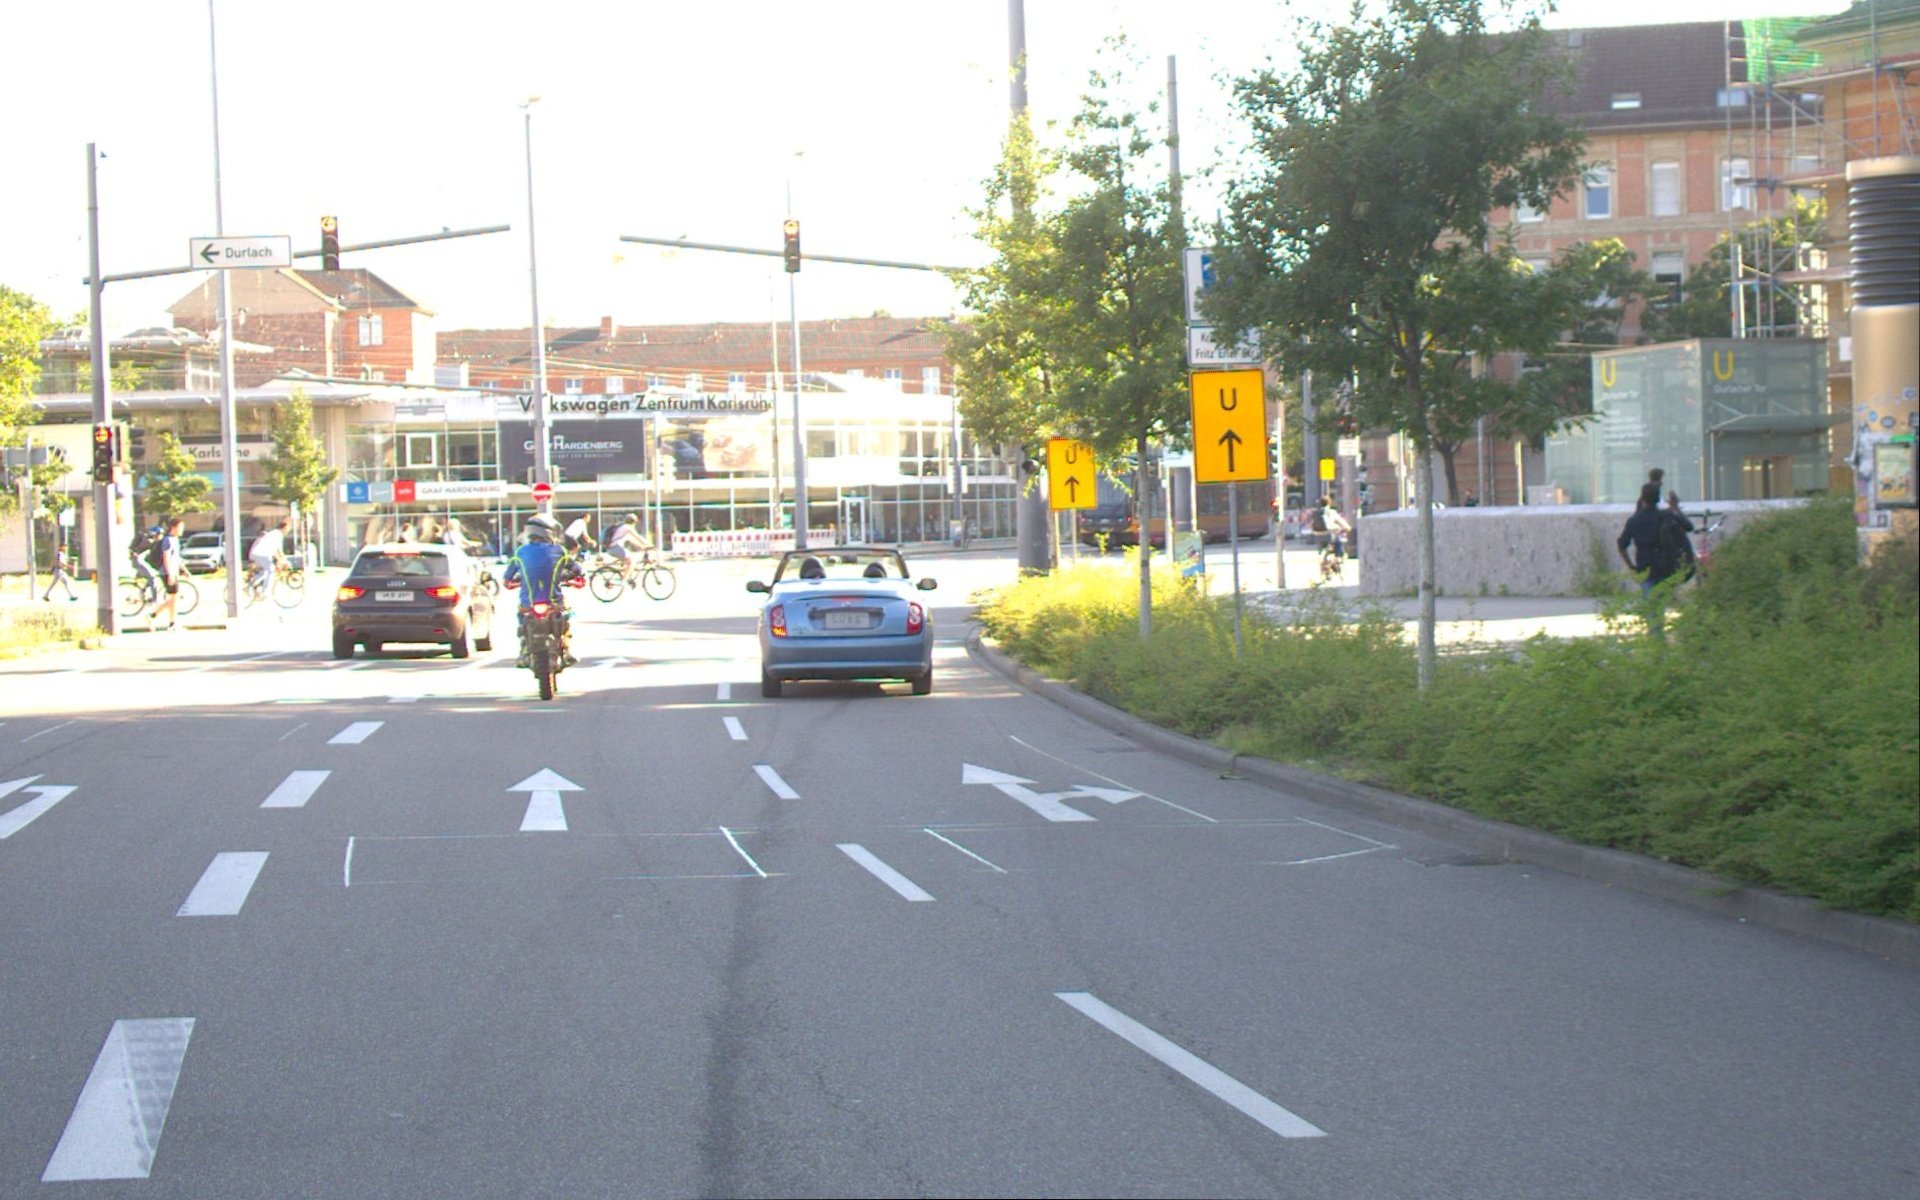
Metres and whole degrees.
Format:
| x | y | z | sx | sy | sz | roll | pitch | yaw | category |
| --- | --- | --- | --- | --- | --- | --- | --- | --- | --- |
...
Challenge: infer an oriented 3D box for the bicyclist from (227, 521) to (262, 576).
| x | y | z | sx | sy | sz | roll | pitch | yaw | category |
| --- | --- | --- | --- | --- | --- | --- | --- | --- | --- |
| -20.592 | -1.486 | 98.991 | 0.923 | 1.554 | 0.860 | -1 | 3 | -15 | bicyclist |

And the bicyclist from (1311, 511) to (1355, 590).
| x | y | z | sx | sy | sz | roll | pitch | yaw | category |
| --- | --- | --- | --- | --- | --- | --- | --- | --- | --- |
| 7.659 | -1.015 | 70.594 | 0.789 | 1.588 | 0.947 | -3 | 0 | 7 | bicyclist |

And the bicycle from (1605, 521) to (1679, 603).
| x | y | z | sx | sy | sz | roll | pitch | yaw | category |
| --- | --- | --- | --- | --- | --- | --- | --- | --- | --- |
| 9.143 | -0.520 | 46.160 | 0.789 | 1.035 | 1.962 | -3 | 1 | 7 | bicycle |

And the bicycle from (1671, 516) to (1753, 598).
| x | y | z | sx | sy | sz | roll | pitch | yaw | category |
| --- | --- | --- | --- | --- | --- | --- | --- | --- | --- |
| 10.135 | -0.586 | 46.271 | 0.627 | 1.035 | 1.960 | -3 | 1 | 25 | bicycle |

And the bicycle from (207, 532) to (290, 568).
| x | y | z | sx | sy | sz | roll | pitch | yaw | category |
| --- | --- | --- | --- | --- | --- | --- | --- | --- | --- |
| -20.484 | -1.452 | 99.010 | 2.295 | 0.976 | 0.860 | -1 | 3 | -14 | bicycle |

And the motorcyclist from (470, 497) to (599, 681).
| x | y | z | sx | sy | sz | roll | pitch | yaw | category |
| --- | --- | --- | --- | --- | --- | --- | --- | --- | --- |
| -4.049 | -0.109 | 32.768 | 1.096 | 1.715 | 0.936 | 0 | 1 | 1 | motorcyclist |

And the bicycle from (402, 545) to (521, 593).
| x | y | z | sx | sy | sz | roll | pitch | yaw | category |
| --- | --- | --- | --- | --- | --- | --- | --- | --- | --- |
| -10.213 | -0.638 | 70.426 | 2.295 | 0.902 | 0.860 | -1 | 3 | -16 | bicycle |

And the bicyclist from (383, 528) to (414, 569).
| x | y | z | sx | sy | sz | roll | pitch | yaw | category |
| --- | --- | --- | --- | --- | --- | --- | --- | --- | --- |
| -15.876 | -1.461 | 97.263 | 0.712 | 1.139 | 0.838 | -1 | 3 | -20 | bicyclist |

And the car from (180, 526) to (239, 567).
| x | y | z | sx | sy | sz | roll | pitch | yaw | category |
| --- | --- | --- | --- | --- | --- | --- | --- | --- | --- |
| -31.396 | -2.242 | 143.900 | 1.993 | 1.529 | 4.001 | -1 | 3 | -6 | car |

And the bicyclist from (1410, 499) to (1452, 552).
| x | y | z | sx | sy | sz | roll | pitch | yaw | category |
| --- | --- | --- | --- | --- | --- | --- | --- | --- | --- |
| 14.091 | -2.217 | 102.851 | 0.923 | 1.554 | 0.963 | -2 | 1 | -16 | bicyclist |

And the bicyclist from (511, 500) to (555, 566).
| x | y | z | sx | sy | sz | roll | pitch | yaw | category |
| --- | --- | --- | --- | --- | --- | --- | --- | --- | --- |
| -12.691 | -2.003 | 102.090 | 1.070 | 1.894 | 1.123 | -1 | 3 | -19 | bicyclist |

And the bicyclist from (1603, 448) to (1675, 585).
| x | y | z | sx | sy | sz | roll | pitch | yaw | category |
| --- | --- | --- | --- | --- | --- | --- | --- | --- | --- |
| 9.101 | -1.114 | 46.106 | 0.787 | 1.780 | 0.894 | -3 | 0 | 7 | bicyclist |

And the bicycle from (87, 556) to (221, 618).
| x | y | z | sx | sy | sz | roll | pitch | yaw | category |
| --- | --- | --- | --- | --- | --- | --- | --- | --- | --- |
| -15.591 | -0.257 | 66.538 | 2.492 | 1.129 | 0.860 | -1 | 3 | -12 | bicycle |

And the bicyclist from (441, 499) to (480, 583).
| x | y | z | sx | sy | sz | roll | pitch | yaw | category |
| --- | --- | --- | --- | --- | --- | --- | --- | --- | --- |
| -10.226 | -1.222 | 70.393 | 0.649 | 1.685 | 0.860 | -1 | 3 | -16 | bicyclist |

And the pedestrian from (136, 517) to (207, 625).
| x | y | z | sx | sy | sz | roll | pitch | yaw | category |
| --- | --- | --- | --- | --- | --- | --- | --- | --- | --- |
| -12.329 | -0.454 | 53.759 | 0.826 | 1.666 | 0.698 | -2 | 2 | -40 | pedestrian |

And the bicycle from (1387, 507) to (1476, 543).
| x | y | z | sx | sy | sz | roll | pitch | yaw | category |
| --- | --- | --- | --- | --- | --- | --- | --- | --- | --- |
| 14.093 | -2.239 | 102.843 | 2.437 | 1.000 | 0.963 | -2 | 1 | -16 | bicycle |

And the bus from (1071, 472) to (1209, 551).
| x | y | z | sx | sy | sz | roll | pitch | yaw | category |
| --- | --- | --- | --- | --- | --- | --- | --- | --- | --- |
| 6.979 | -3.430 | 131.591 | 2.356 | 2.873 | 9.569 | -1 | 1 | 21 | bus |

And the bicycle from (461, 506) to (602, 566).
| x | y | z | sx | sy | sz | roll | pitch | yaw | category |
| --- | --- | --- | --- | --- | --- | --- | --- | --- | --- |
| -12.708 | -1.901 | 102.062 | 3.986 | 1.684 | 1.139 | -1 | 3 | -19 | bicycle |

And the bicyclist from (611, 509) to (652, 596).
| x | y | z | sx | sy | sz | roll | pitch | yaw | category |
| --- | --- | --- | --- | --- | --- | --- | --- | --- | --- |
| -6.508 | -0.951 | 68.124 | 0.649 | 1.685 | 0.860 | -1 | 3 | -16 | bicyclist |

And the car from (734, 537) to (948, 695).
| x | y | z | sx | sy | sz | roll | pitch | yaw | category |
| --- | --- | --- | --- | --- | --- | --- | --- | --- | --- |
| -1.116 | 0.110 | 33.956 | 1.801 | 1.439 | 3.978 | 0 | 1 | 3 | car |

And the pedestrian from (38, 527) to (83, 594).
| x | y | z | sx | sy | sz | roll | pitch | yaw | category |
| --- | --- | --- | --- | --- | --- | --- | --- | --- | --- |
| -24.974 | -1.097 | 95.438 | 0.989 | 1.810 | 0.920 | 0 | 3 | -2 | pedestrian |

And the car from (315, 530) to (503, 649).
| x | y | z | sx | sy | sz | roll | pitch | yaw | category |
| --- | --- | --- | --- | --- | --- | --- | --- | --- | --- |
| -6.992 | -0.166 | 43.983 | 1.801 | 1.439 | 3.978 | 0 | 1 | -1 | car |

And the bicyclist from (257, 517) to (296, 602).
| x | y | z | sx | sy | sz | roll | pitch | yaw | category |
| --- | --- | --- | --- | --- | --- | --- | --- | --- | --- |
| -13.789 | -0.820 | 69.313 | 0.649 | 1.685 | 0.860 | -1 | 3 | -18 | bicyclist |

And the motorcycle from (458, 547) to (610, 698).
| x | y | z | sx | sy | sz | roll | pitch | yaw | category |
| --- | --- | --- | --- | --- | --- | --- | --- | --- | --- |
| -4.036 | 0.189 | 32.805 | 1.096 | 1.372 | 2.653 | 0 | 1 | 0 | motorcycle |

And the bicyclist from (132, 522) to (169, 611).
| x | y | z | sx | sy | sz | roll | pitch | yaw | category |
| --- | --- | --- | --- | --- | --- | --- | --- | --- | --- |
| -15.651 | -0.660 | 66.503 | 0.649 | 1.685 | 0.860 | -1 | 3 | -12 | bicyclist |

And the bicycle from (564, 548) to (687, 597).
| x | y | z | sx | sy | sz | roll | pitch | yaw | category |
| --- | --- | --- | --- | --- | --- | --- | --- | --- | --- |
| -6.622 | -0.547 | 68.114 | 2.295 | 0.902 | 0.860 | -1 | 3 | -16 | bicycle |

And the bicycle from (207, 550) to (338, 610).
| x | y | z | sx | sy | sz | roll | pitch | yaw | category |
| --- | --- | --- | --- | --- | --- | --- | --- | --- | --- |
| -13.863 | -0.415 | 69.305 | 2.492 | 1.129 | 0.860 | -1 | 3 | -18 | bicycle |

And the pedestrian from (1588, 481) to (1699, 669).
| x | y | z | sx | sy | sz | roll | pitch | yaw | category |
| --- | --- | --- | --- | --- | --- | --- | --- | --- | --- |
| 6.168 | -0.233 | 31.040 | 0.806 | 1.653 | 0.790 | -2 | 1 | 0 | pedestrian |

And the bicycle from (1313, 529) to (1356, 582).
| x | y | z | sx | sy | sz | roll | pitch | yaw | category |
| --- | --- | --- | --- | --- | --- | --- | --- | --- | --- |
| 7.699 | -0.923 | 70.656 | 0.789 | 1.035 | 1.962 | -3 | 1 | 7 | bicycle |

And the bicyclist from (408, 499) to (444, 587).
| x | y | z | sx | sy | sz | roll | pitch | yaw | category |
| --- | --- | --- | --- | --- | --- | --- | --- | --- | --- |
| -10.905 | -1.174 | 70.242 | 0.582 | 1.771 | 0.867 | -2 | 1 | -16 | bicyclist |

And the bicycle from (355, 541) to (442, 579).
| x | y | z | sx | sy | sz | roll | pitch | yaw | category |
| --- | --- | --- | --- | --- | --- | --- | --- | --- | --- |
| -15.887 | -1.137 | 97.267 | 2.295 | 0.956 | 0.860 | -3 | 4 | -20 | bicycle |
